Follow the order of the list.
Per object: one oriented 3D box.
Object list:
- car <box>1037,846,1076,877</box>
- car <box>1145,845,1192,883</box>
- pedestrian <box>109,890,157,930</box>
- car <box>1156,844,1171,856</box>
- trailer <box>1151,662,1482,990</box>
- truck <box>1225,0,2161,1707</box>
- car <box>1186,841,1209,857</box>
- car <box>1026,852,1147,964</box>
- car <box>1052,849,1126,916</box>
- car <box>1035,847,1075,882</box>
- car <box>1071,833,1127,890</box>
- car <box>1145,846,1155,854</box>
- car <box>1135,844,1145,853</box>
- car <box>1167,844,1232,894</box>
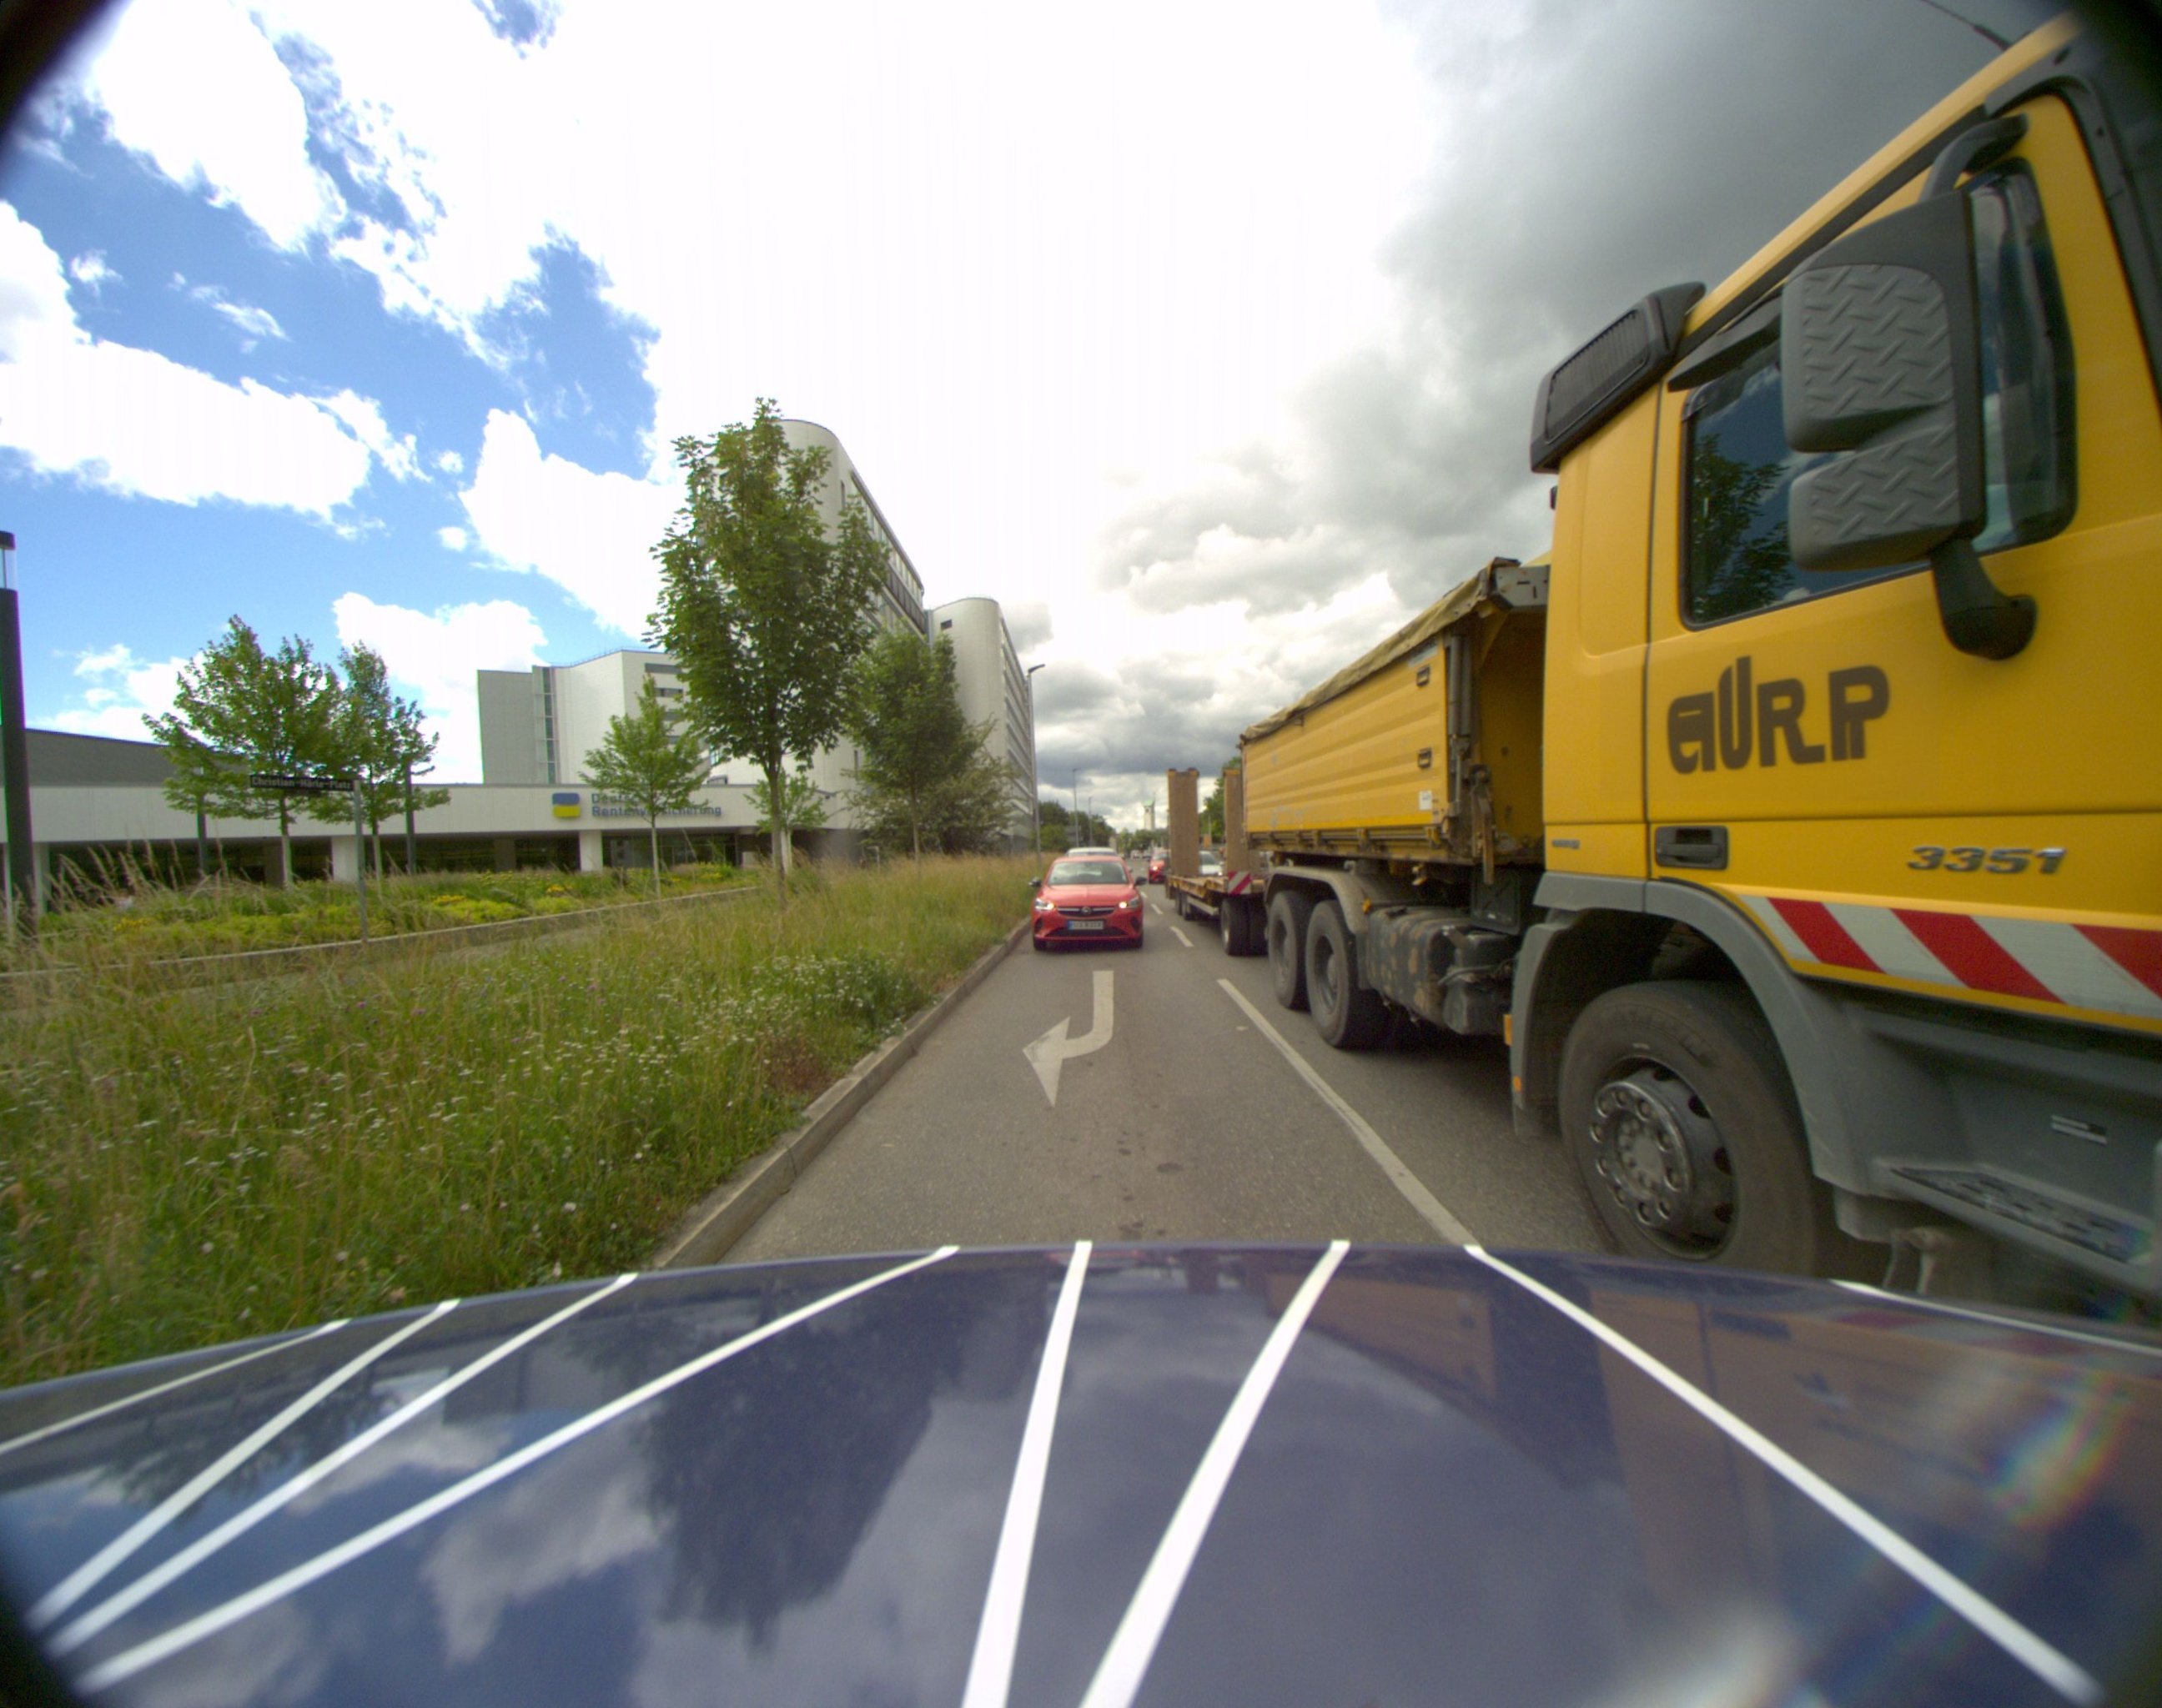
[{"bbox_3d":[-1.326,0.368,42.675,1.850,1.565,4.623,-2,1,1],"label":"car"},{"bbox_3d":[3.750,0.381,33.233,1.692,1.471,4.000,-2,1,2],"label":"car"},{"bbox_3d":[-31.721,1.866,25.439,0.887,1.266,0.703,-3,1,-45],"label":"pedestrian"},{"bbox_3d":[12.786,-0.654,118.209,1.887,1.762,4.864,-2,1,2],"label":"car"},{"bbox_3d":[3.102,-0.367,13.833,2.713,3.501,10.913,-2,1,1],"label":"trailer"},{"bbox_3d":[2.938,0.018,4.503,2.727,2.986,7.777,-2,1,1],"label":"truck"},{"bbox_3d":[11.024,-0.488,72.024,1.781,1.461,4.044,-2,1,3],"label":"car"},{"bbox_3d":[0.160,0.781,12.943,1.692,1.471,4.000,-2,1,2],"label":"car"},{"bbox_3d":[0.237,0.677,20.244,1.738,1.565,3.445,-2,1,1],"label":"car"},{"bbox_3d":[-1.260,0.482,37.697,1.738,1.565,3.445,-2,1,1],"label":"car"},{"bbox_3d":[0.733,0.257,30.021,1.998,2.002,4.000,-2,1,2],"label":"car"},{"bbox_3d":[12.861,-0.710,141.899,1.644,1.489,3.554,-2,1,2],"label":"car"},{"bbox_3d":[12.966,-1.190,166.813,1.998,2.002,4.000,-2,1,2],"label":"car"},{"bbox_3d":[3.973,0.459,25.995,1.692,1.471,4.000,-2,1,2],"label":"car"}]
